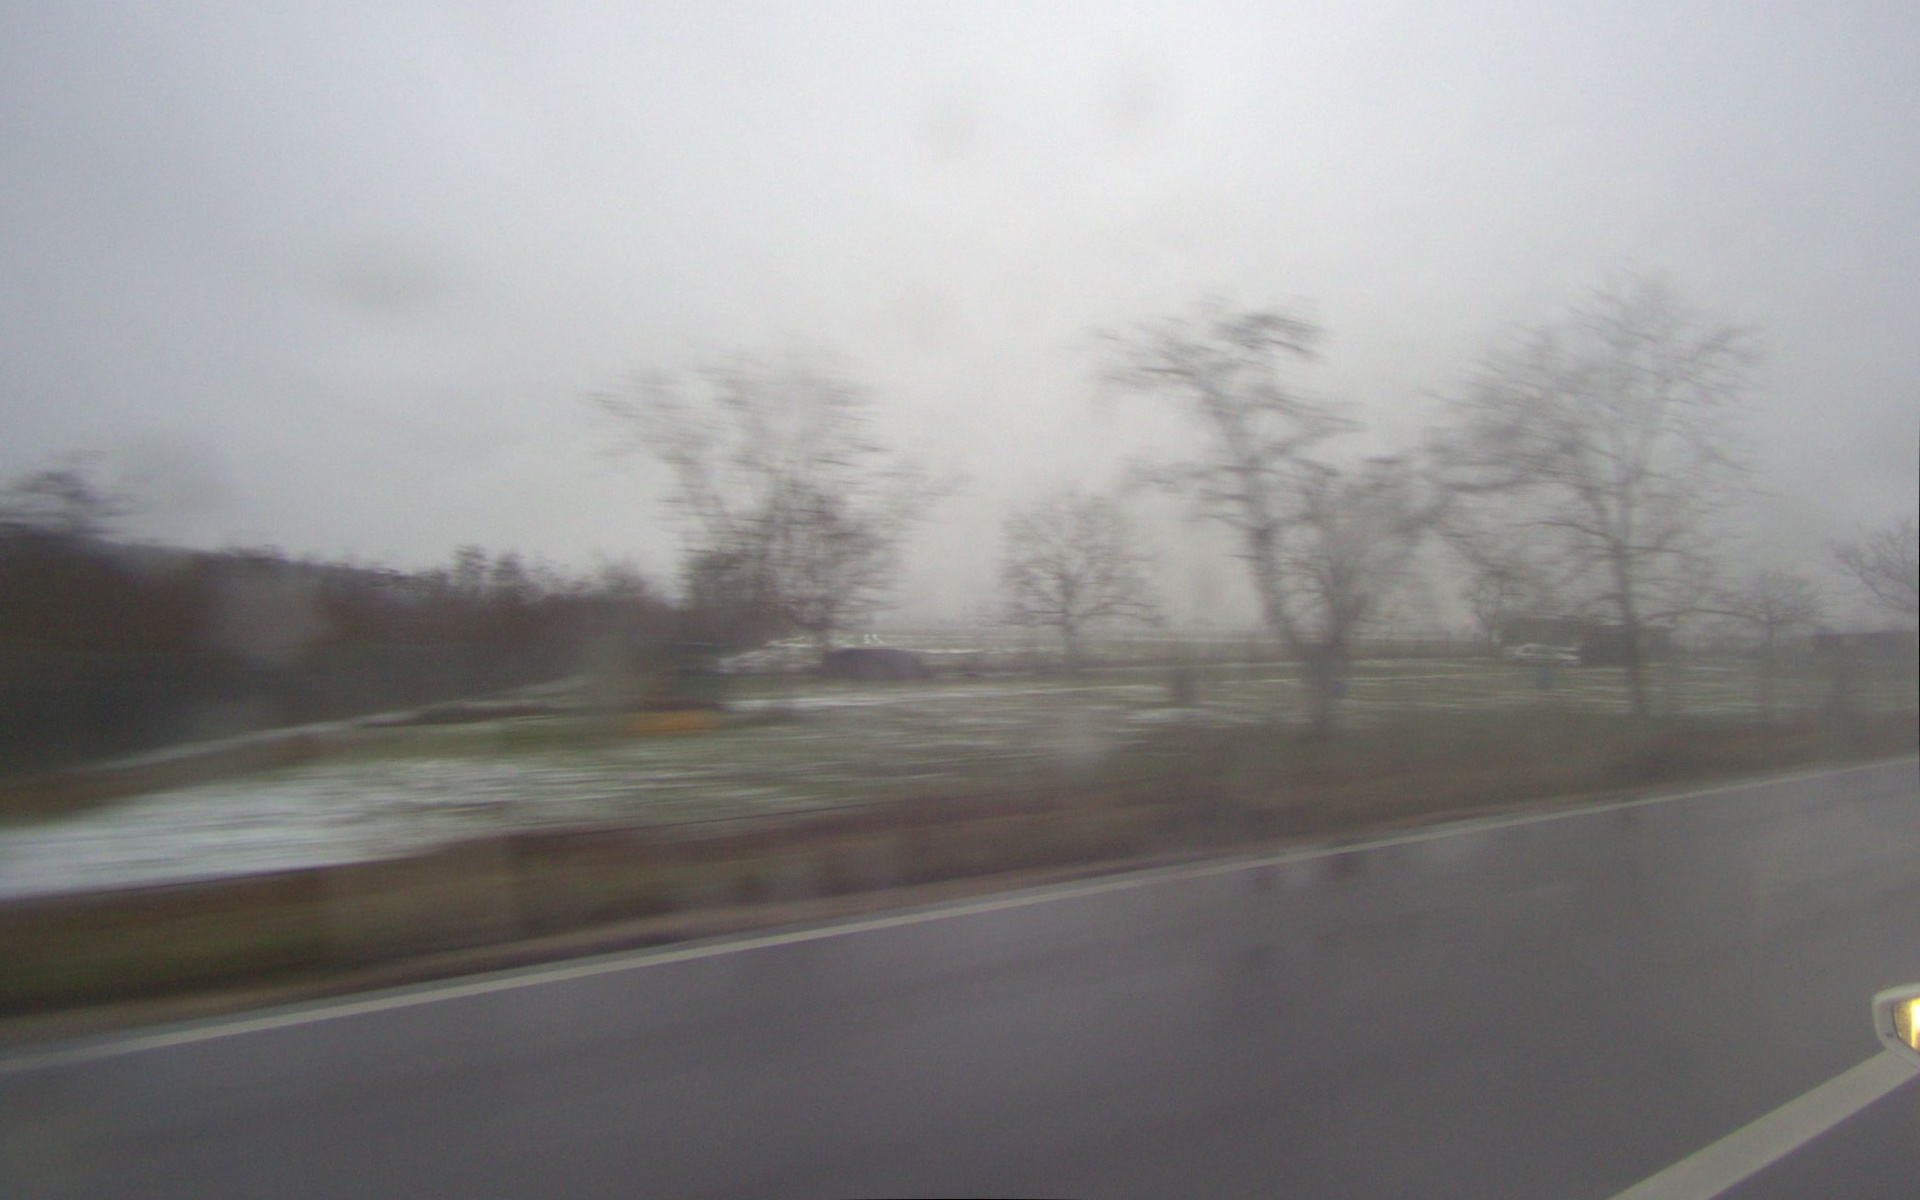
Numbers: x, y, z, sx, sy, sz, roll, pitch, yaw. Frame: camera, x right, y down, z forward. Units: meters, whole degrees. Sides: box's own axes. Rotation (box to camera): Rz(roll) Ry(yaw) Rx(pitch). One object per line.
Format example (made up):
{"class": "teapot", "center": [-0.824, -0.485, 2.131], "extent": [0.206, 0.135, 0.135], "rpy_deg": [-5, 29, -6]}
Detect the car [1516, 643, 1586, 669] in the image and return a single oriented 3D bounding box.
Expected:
{"class": "car", "center": [36.101, 3.408, 61.389], "extent": [1.588, 1.360, 3.407], "rpy_deg": [2, 0, -44]}
